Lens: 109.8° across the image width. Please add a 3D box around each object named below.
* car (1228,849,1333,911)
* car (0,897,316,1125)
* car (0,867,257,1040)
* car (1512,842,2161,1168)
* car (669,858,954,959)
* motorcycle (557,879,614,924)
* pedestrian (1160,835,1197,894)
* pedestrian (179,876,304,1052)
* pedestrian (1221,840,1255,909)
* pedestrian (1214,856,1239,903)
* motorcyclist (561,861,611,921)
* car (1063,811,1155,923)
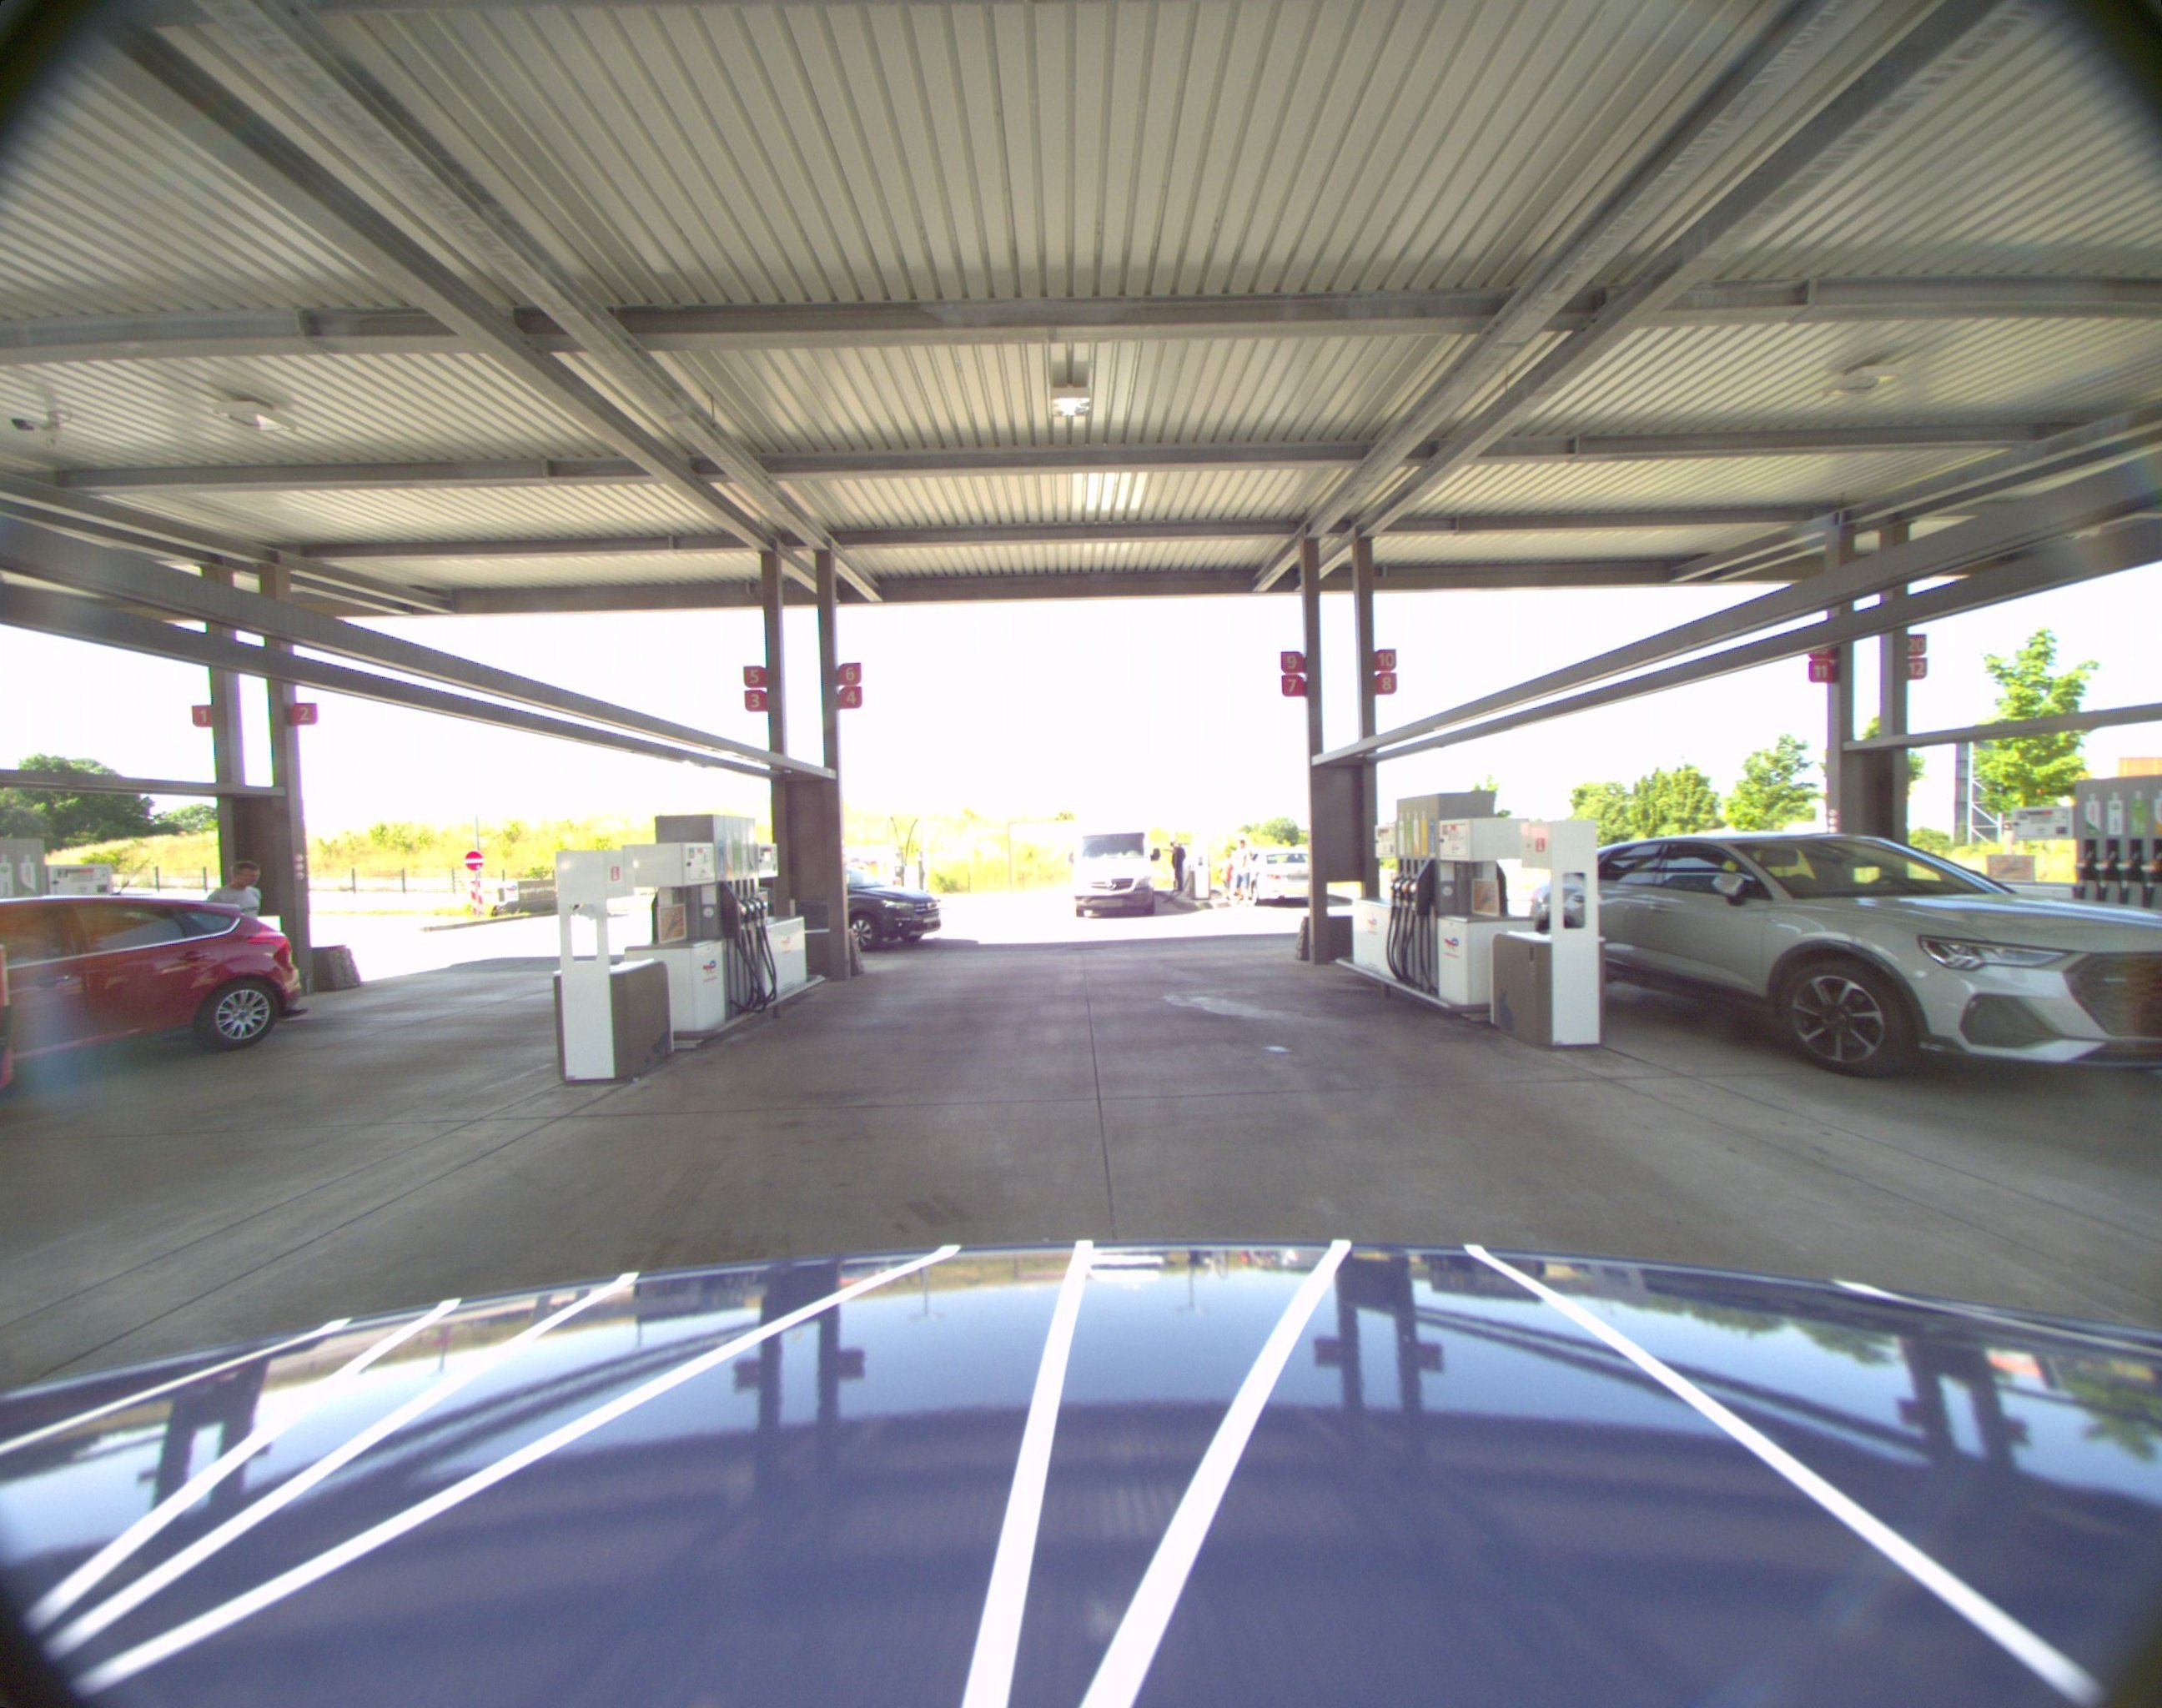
[{"bbox_3d":[5.361,0.628,21.004,1.792,1.420,4.321,-2,1,1],"label":"car"},{"bbox_3d":[-8.425,1.186,5.387,1.703,1.460,4.232,-2,0,-1],"label":"car"},{"bbox_3d":[-12.750,1.102,8.707,2.035,1.840,4.793,-1,0,-12],"label":"car"},{"bbox_3d":[5.442,0.715,5.830,1.785,1.532,4.325,-2,0,0],"label":"car"},{"bbox_3d":[-4.846,0.956,13.823,4.623,1.635,1.745,-1,1,14],"label":"car"},{"bbox_3d":[-14.579,1.369,22.439,1.047,1.099,2.410,-2,1,-25],"label":"motorcycle"},{"bbox_3d":[2.997,0.316,23.319,0.711,1.759,0.843,-2,1,-44],"label":"pedestrian"},{"bbox_3d":[-8.817,1.095,7.985,0.925,1.693,0.705,-1,1,34],"label":"pedestrian"},{"bbox_3d":[4.095,0.518,19.858,0.708,1.739,0.845,-2,1,2],"label":"pedestrian"},{"bbox_3d":[4.139,0.713,21.591,0.577,1.299,0.669,-2,1,2],"label":"pedestrian"},{"bbox_3d":[-14.564,1.052,22.403,1.036,1.678,1.096,-2,1,-25],"label":"motorcyclist"},{"bbox_3d":[0.981,0.163,21.033,1.997,2.557,7.031,-1,3,6],"label":"car"}]
